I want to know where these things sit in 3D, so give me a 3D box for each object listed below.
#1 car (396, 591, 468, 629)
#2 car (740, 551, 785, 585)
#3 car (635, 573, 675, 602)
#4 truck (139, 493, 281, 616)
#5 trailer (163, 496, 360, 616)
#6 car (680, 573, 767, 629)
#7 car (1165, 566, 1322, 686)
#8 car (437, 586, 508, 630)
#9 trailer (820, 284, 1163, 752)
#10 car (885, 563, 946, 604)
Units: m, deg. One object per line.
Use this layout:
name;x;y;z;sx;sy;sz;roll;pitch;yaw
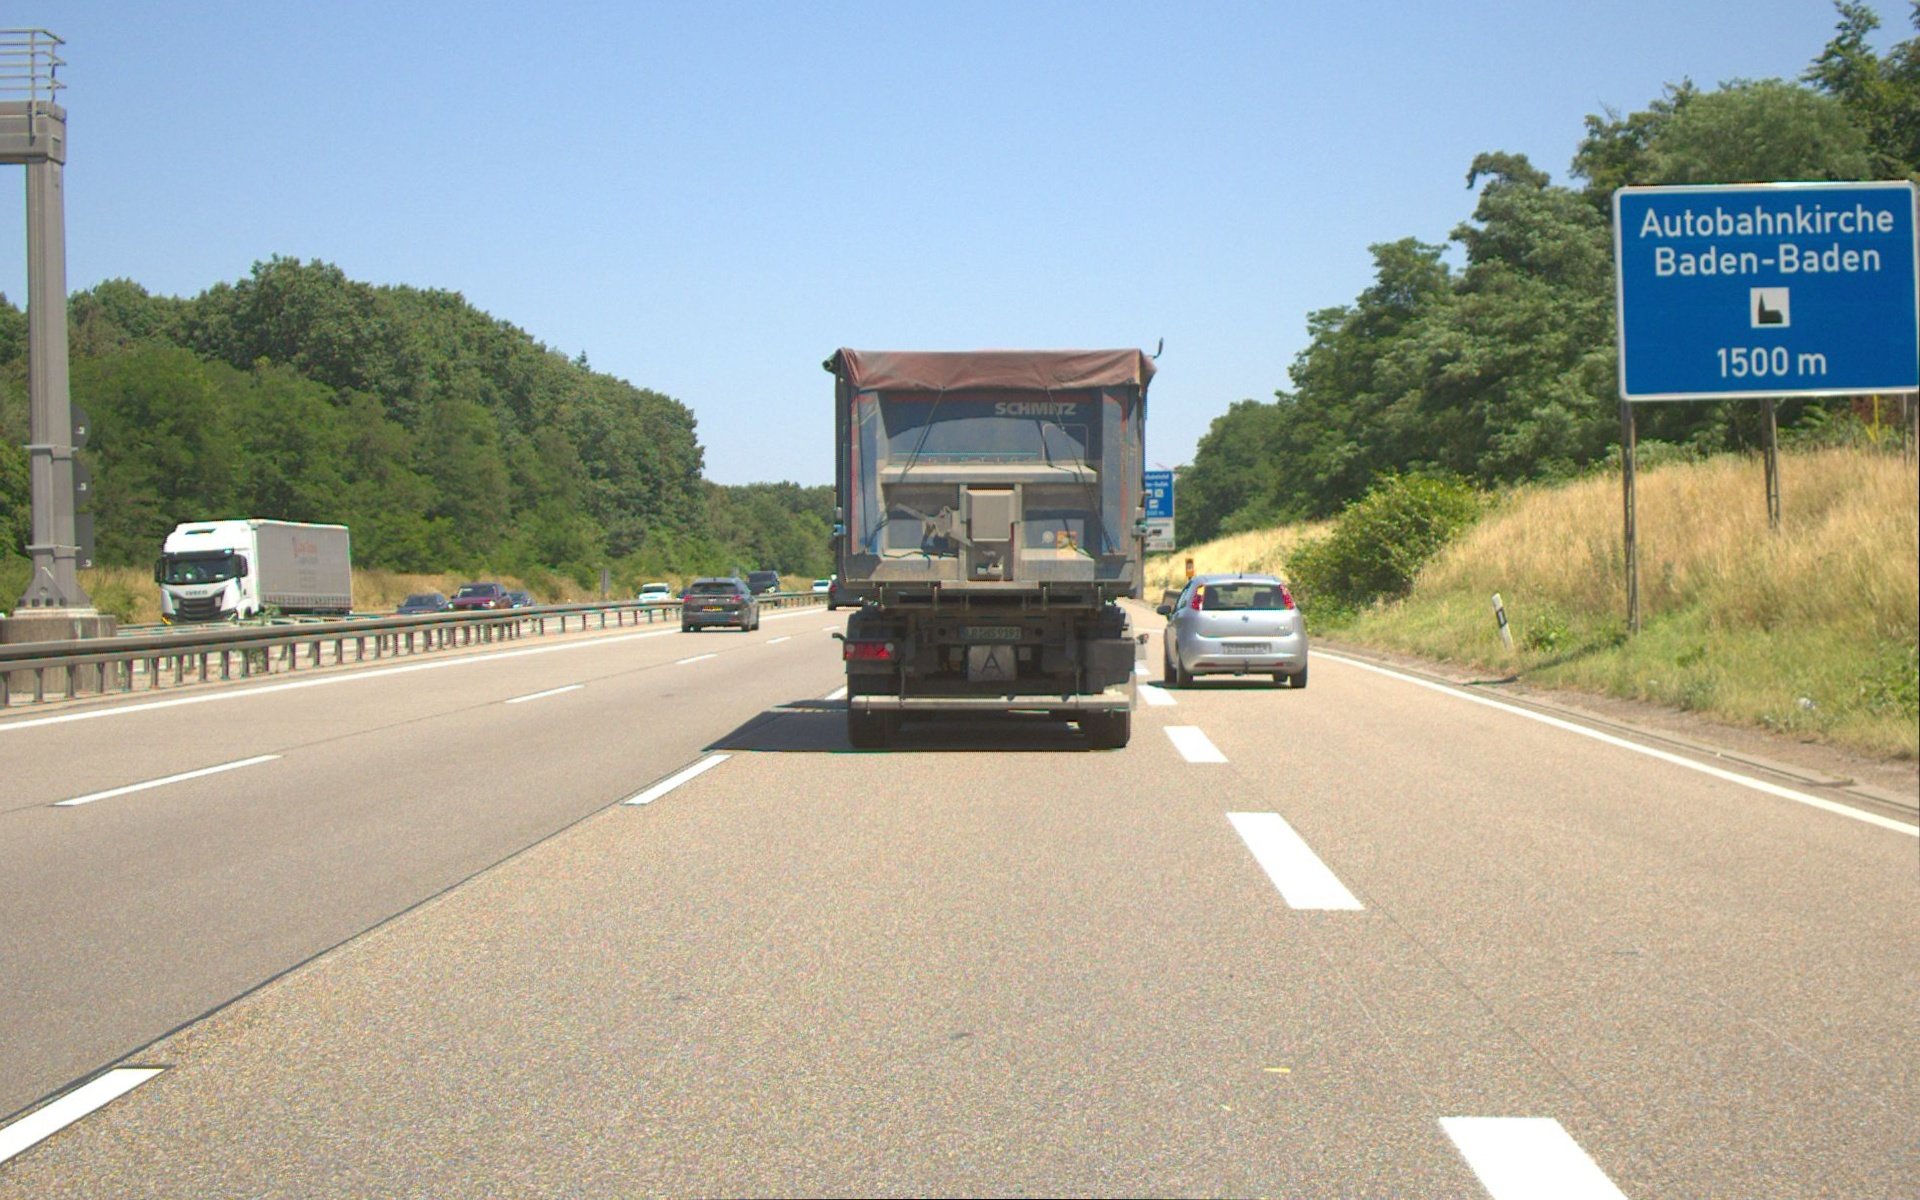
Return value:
car;-22.183;0.405;144.555;2.085;1.458;4.942;-1;0;2
car;-11.973;-1.932;208.454;2.280;1.934;4.942;-1;0;2
car;-19.815;-0.818;223.690;1.993;1.821;4.642;-3;0;2
truck;-24.434;-1.467;112.186;3.168;3.917;5.399;0;0;4
trailer;-23.989;-1.478;119.019;3.168;3.917;13.962;0;0;4
car;-6.315;0.008;92.190;1.832;1.427;4.999;0;1;2
car;3.687;0.313;45.241;1.719;1.486;3.737;0;1;0
car;-18.277;0.294;129.079;1.846;1.605;4.921;0;0;1
trailer;0.304;-0.727;32.266;2.737;3.746;9.109;0;1;1
car;-1.587;-0.604;124.479;1.894;1.464;4.261;1;1;4
